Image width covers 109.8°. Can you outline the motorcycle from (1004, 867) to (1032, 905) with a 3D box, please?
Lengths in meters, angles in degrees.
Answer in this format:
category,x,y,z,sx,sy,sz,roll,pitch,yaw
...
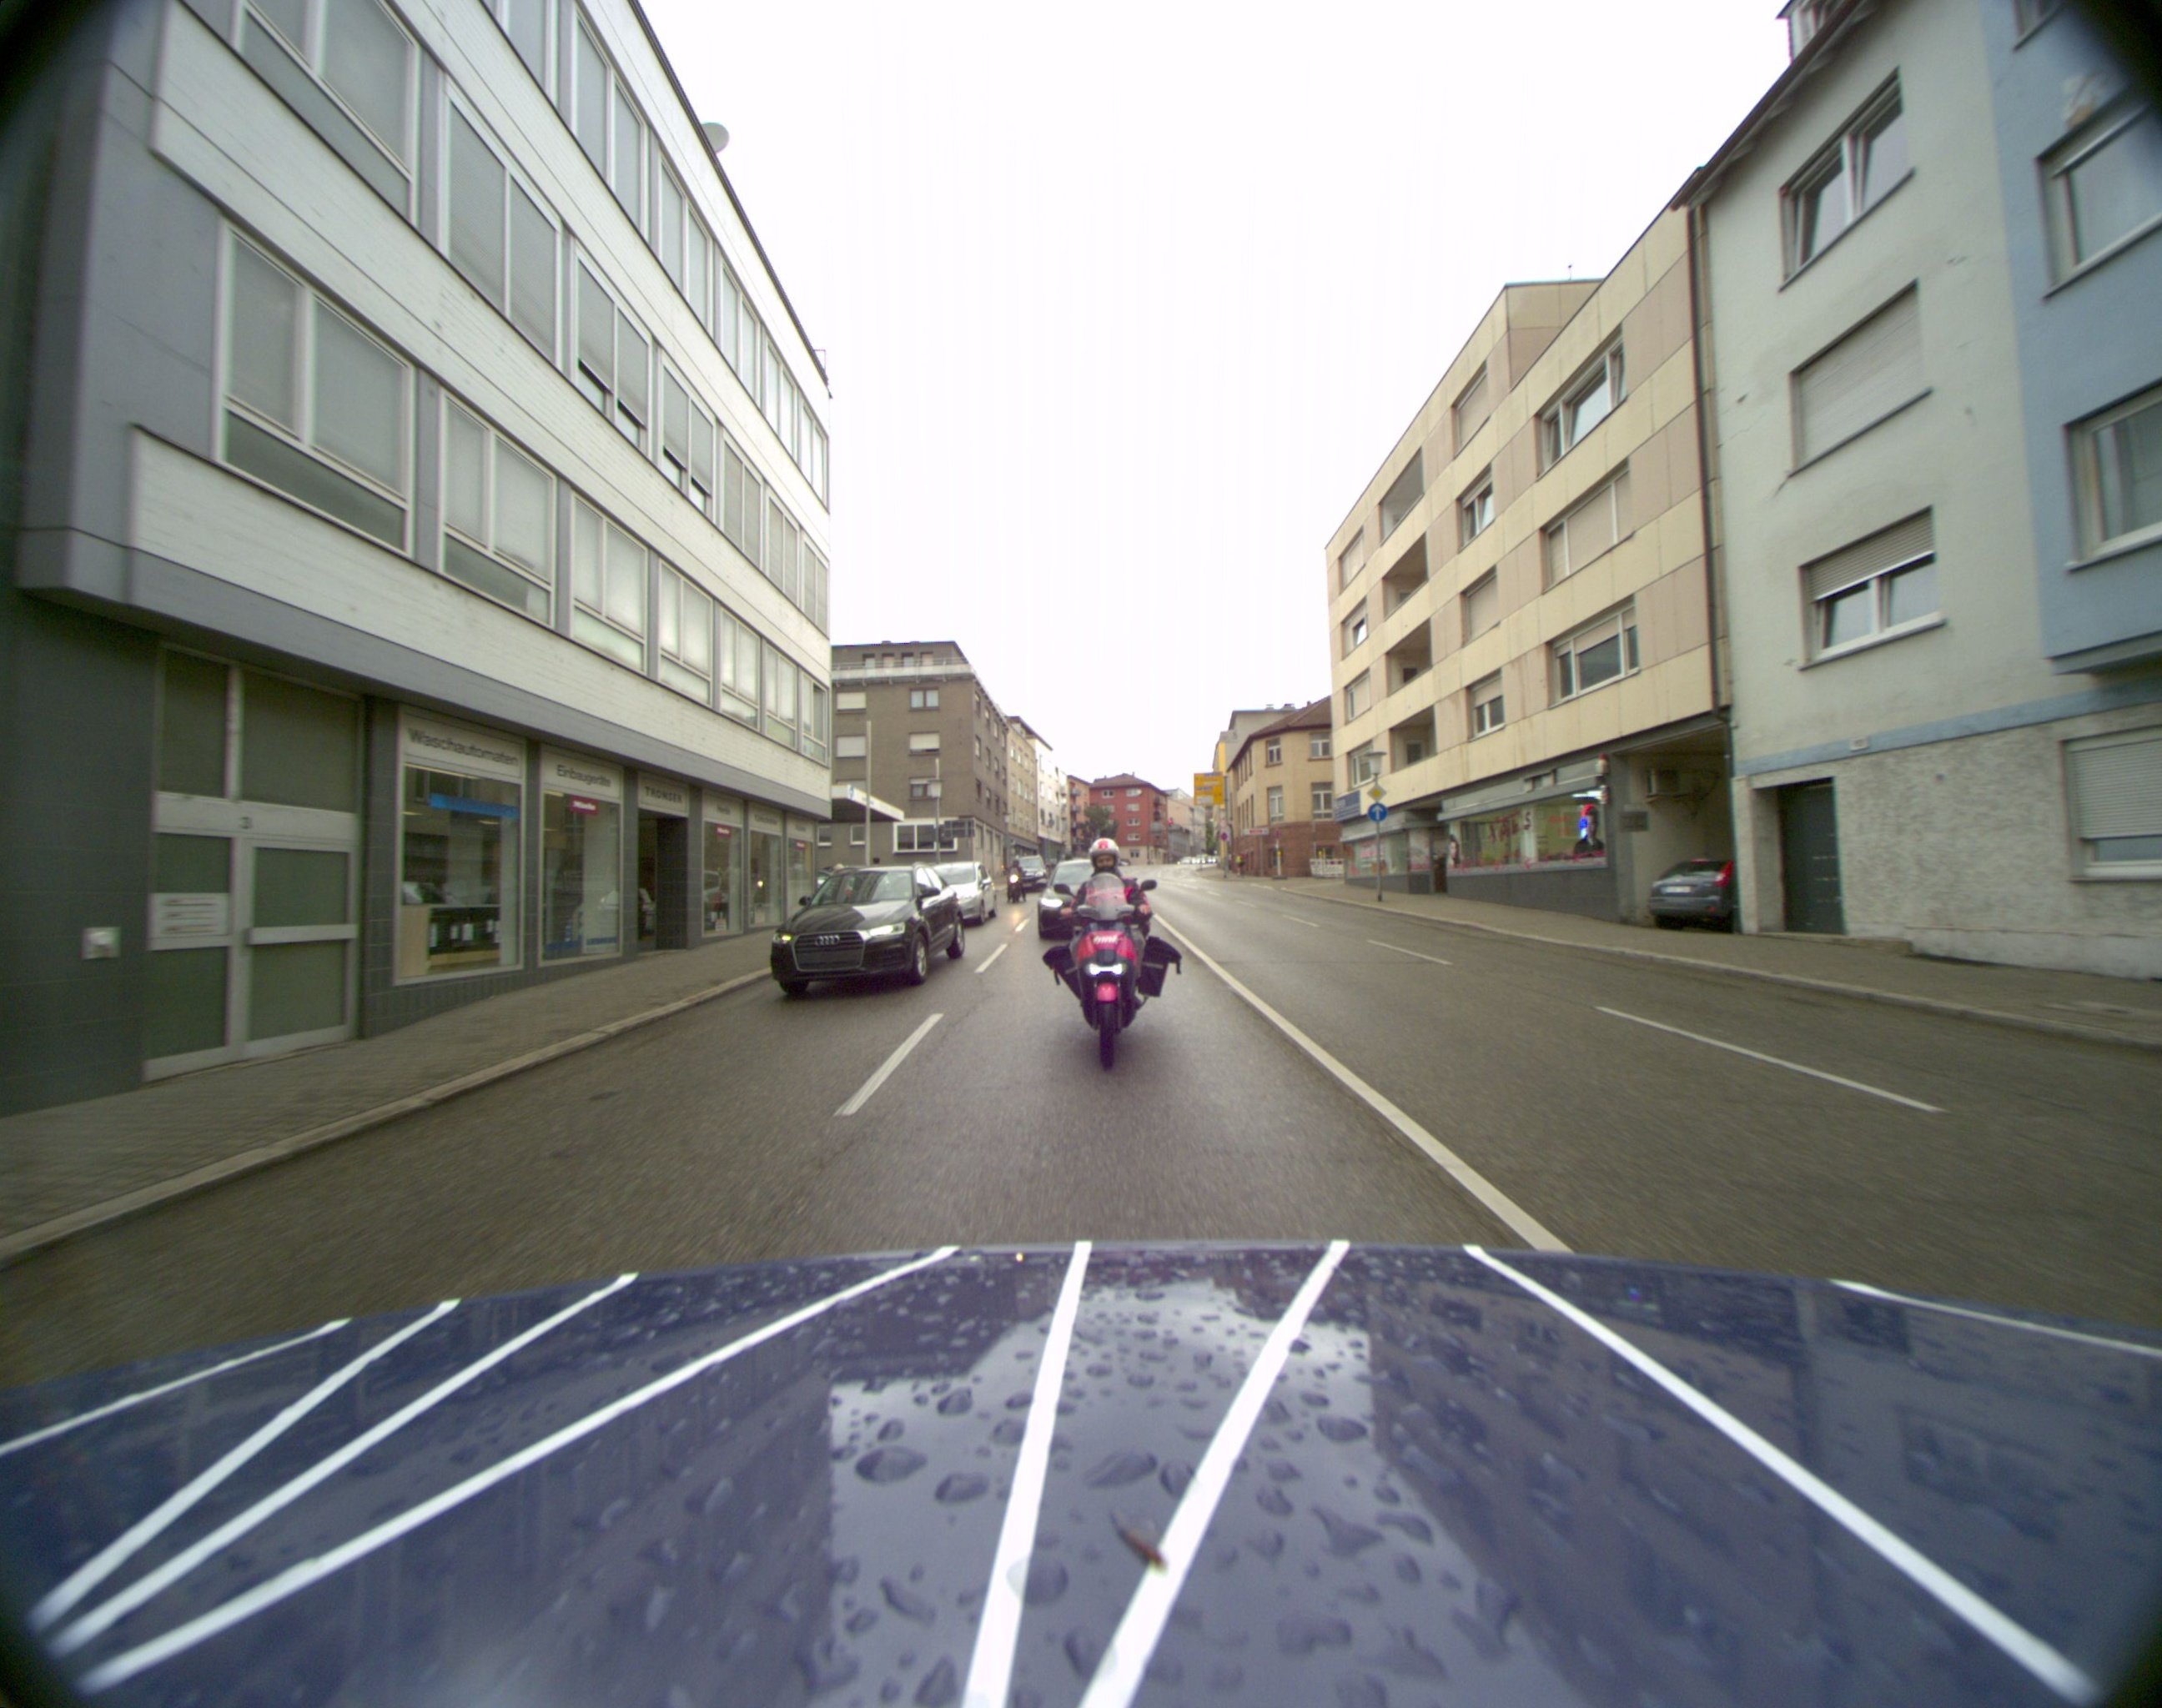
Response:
category,x,y,z,sx,sy,sz,roll,pitch,yaw
motorcycle,-2.268,1.124,27.574,0.847,1.219,2.372,-4,0,-4

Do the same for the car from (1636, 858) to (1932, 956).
category,x,y,z,sx,sy,sz,roll,pitch,yaw
car,12.643,0.946,13.790,4.000,1.342,1.678,5,-2,-6

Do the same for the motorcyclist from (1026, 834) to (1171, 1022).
category,x,y,z,sx,sy,sz,roll,pitch,yaw
motorcyclist,0.156,0.566,6.214,1.010,1.373,0.835,-4,0,3

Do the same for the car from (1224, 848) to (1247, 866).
category,x,y,z,sx,sy,sz,roll,pitch,yaw
car,14.128,0.268,69.627,1.861,1.445,3.966,-5,-1,11

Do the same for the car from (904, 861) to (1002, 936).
category,x,y,z,sx,sy,sz,roll,pitch,yaw
car,-3.170,1.040,19.624,1.831,1.532,4.251,-5,0,-2

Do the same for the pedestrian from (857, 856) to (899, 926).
category,x,y,z,sx,sy,sz,roll,pitch,yaw
pedestrian,-5.153,0.921,19.350,0.786,1.696,1.120,1,1,-2

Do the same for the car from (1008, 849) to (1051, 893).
category,x,y,z,sx,sy,sz,roll,pitch,yaw
car,-2.476,0.753,35.875,1.849,1.893,3.763,-2,0,-5

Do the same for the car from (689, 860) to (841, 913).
category,x,y,z,sx,sy,sz,roll,pitch,yaw
car,-9.336,0.970,22.787,4.003,1.442,1.796,2,-1,-16

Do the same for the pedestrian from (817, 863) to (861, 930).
category,x,y,z,sx,sy,sz,roll,pitch,yaw
pedestrian,-5.721,0.992,18.038,0.767,1.542,0.890,1,1,-2

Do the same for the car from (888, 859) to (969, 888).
category,x,y,z,sx,sy,sz,roll,pitch,yaw
car,-9.464,1.204,47.362,4.531,1.495,2.001,-3,0,5

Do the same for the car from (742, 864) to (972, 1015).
category,x,y,z,sx,sy,sz,roll,pitch,yaw
car,-2.888,1.017,10.877,1.827,1.551,4.201,-4,0,2

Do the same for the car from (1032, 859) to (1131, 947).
category,x,y,z,sx,sy,sz,roll,pitch,yaw
car,0.134,0.909,16.007,1.705,1.451,4.319,-4,0,3

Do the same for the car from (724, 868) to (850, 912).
category,x,y,z,sx,sy,sz,roll,pitch,yaw
car,-10.546,1.268,27.508,4.001,1.393,1.669,-2,0,-13

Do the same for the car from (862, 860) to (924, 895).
category,x,y,z,sx,sy,sz,roll,pitch,yaw
car,-9.220,1.108,37.674,1.792,1.503,4.437,-2,0,2

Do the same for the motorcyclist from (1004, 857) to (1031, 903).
category,x,y,z,sx,sy,sz,roll,pitch,yaw
motorcyclist,-2.301,0.933,27.586,0.847,1.580,0.962,-4,1,-4

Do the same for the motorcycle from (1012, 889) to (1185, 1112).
category,x,y,z,sx,sy,sz,roll,pitch,yaw
motorcycle,0.185,0.998,6.167,1.010,1.218,2.694,-4,0,3

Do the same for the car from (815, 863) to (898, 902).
category,x,y,z,sx,sy,sz,roll,pitch,yaw
car,-9.237,1.139,31.708,1.792,1.407,4.616,-1,0,4

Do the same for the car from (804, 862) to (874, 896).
category,x,y,z,sx,sy,sz,roll,pitch,yaw
car,-11.693,1.214,37.037,1.792,1.502,4.420,2,-1,2

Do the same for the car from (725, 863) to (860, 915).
category,x,y,z,sx,sy,sz,roll,pitch,yaw
car,-9.498,1.117,25.319,4.002,1.521,1.761,-2,0,-15
